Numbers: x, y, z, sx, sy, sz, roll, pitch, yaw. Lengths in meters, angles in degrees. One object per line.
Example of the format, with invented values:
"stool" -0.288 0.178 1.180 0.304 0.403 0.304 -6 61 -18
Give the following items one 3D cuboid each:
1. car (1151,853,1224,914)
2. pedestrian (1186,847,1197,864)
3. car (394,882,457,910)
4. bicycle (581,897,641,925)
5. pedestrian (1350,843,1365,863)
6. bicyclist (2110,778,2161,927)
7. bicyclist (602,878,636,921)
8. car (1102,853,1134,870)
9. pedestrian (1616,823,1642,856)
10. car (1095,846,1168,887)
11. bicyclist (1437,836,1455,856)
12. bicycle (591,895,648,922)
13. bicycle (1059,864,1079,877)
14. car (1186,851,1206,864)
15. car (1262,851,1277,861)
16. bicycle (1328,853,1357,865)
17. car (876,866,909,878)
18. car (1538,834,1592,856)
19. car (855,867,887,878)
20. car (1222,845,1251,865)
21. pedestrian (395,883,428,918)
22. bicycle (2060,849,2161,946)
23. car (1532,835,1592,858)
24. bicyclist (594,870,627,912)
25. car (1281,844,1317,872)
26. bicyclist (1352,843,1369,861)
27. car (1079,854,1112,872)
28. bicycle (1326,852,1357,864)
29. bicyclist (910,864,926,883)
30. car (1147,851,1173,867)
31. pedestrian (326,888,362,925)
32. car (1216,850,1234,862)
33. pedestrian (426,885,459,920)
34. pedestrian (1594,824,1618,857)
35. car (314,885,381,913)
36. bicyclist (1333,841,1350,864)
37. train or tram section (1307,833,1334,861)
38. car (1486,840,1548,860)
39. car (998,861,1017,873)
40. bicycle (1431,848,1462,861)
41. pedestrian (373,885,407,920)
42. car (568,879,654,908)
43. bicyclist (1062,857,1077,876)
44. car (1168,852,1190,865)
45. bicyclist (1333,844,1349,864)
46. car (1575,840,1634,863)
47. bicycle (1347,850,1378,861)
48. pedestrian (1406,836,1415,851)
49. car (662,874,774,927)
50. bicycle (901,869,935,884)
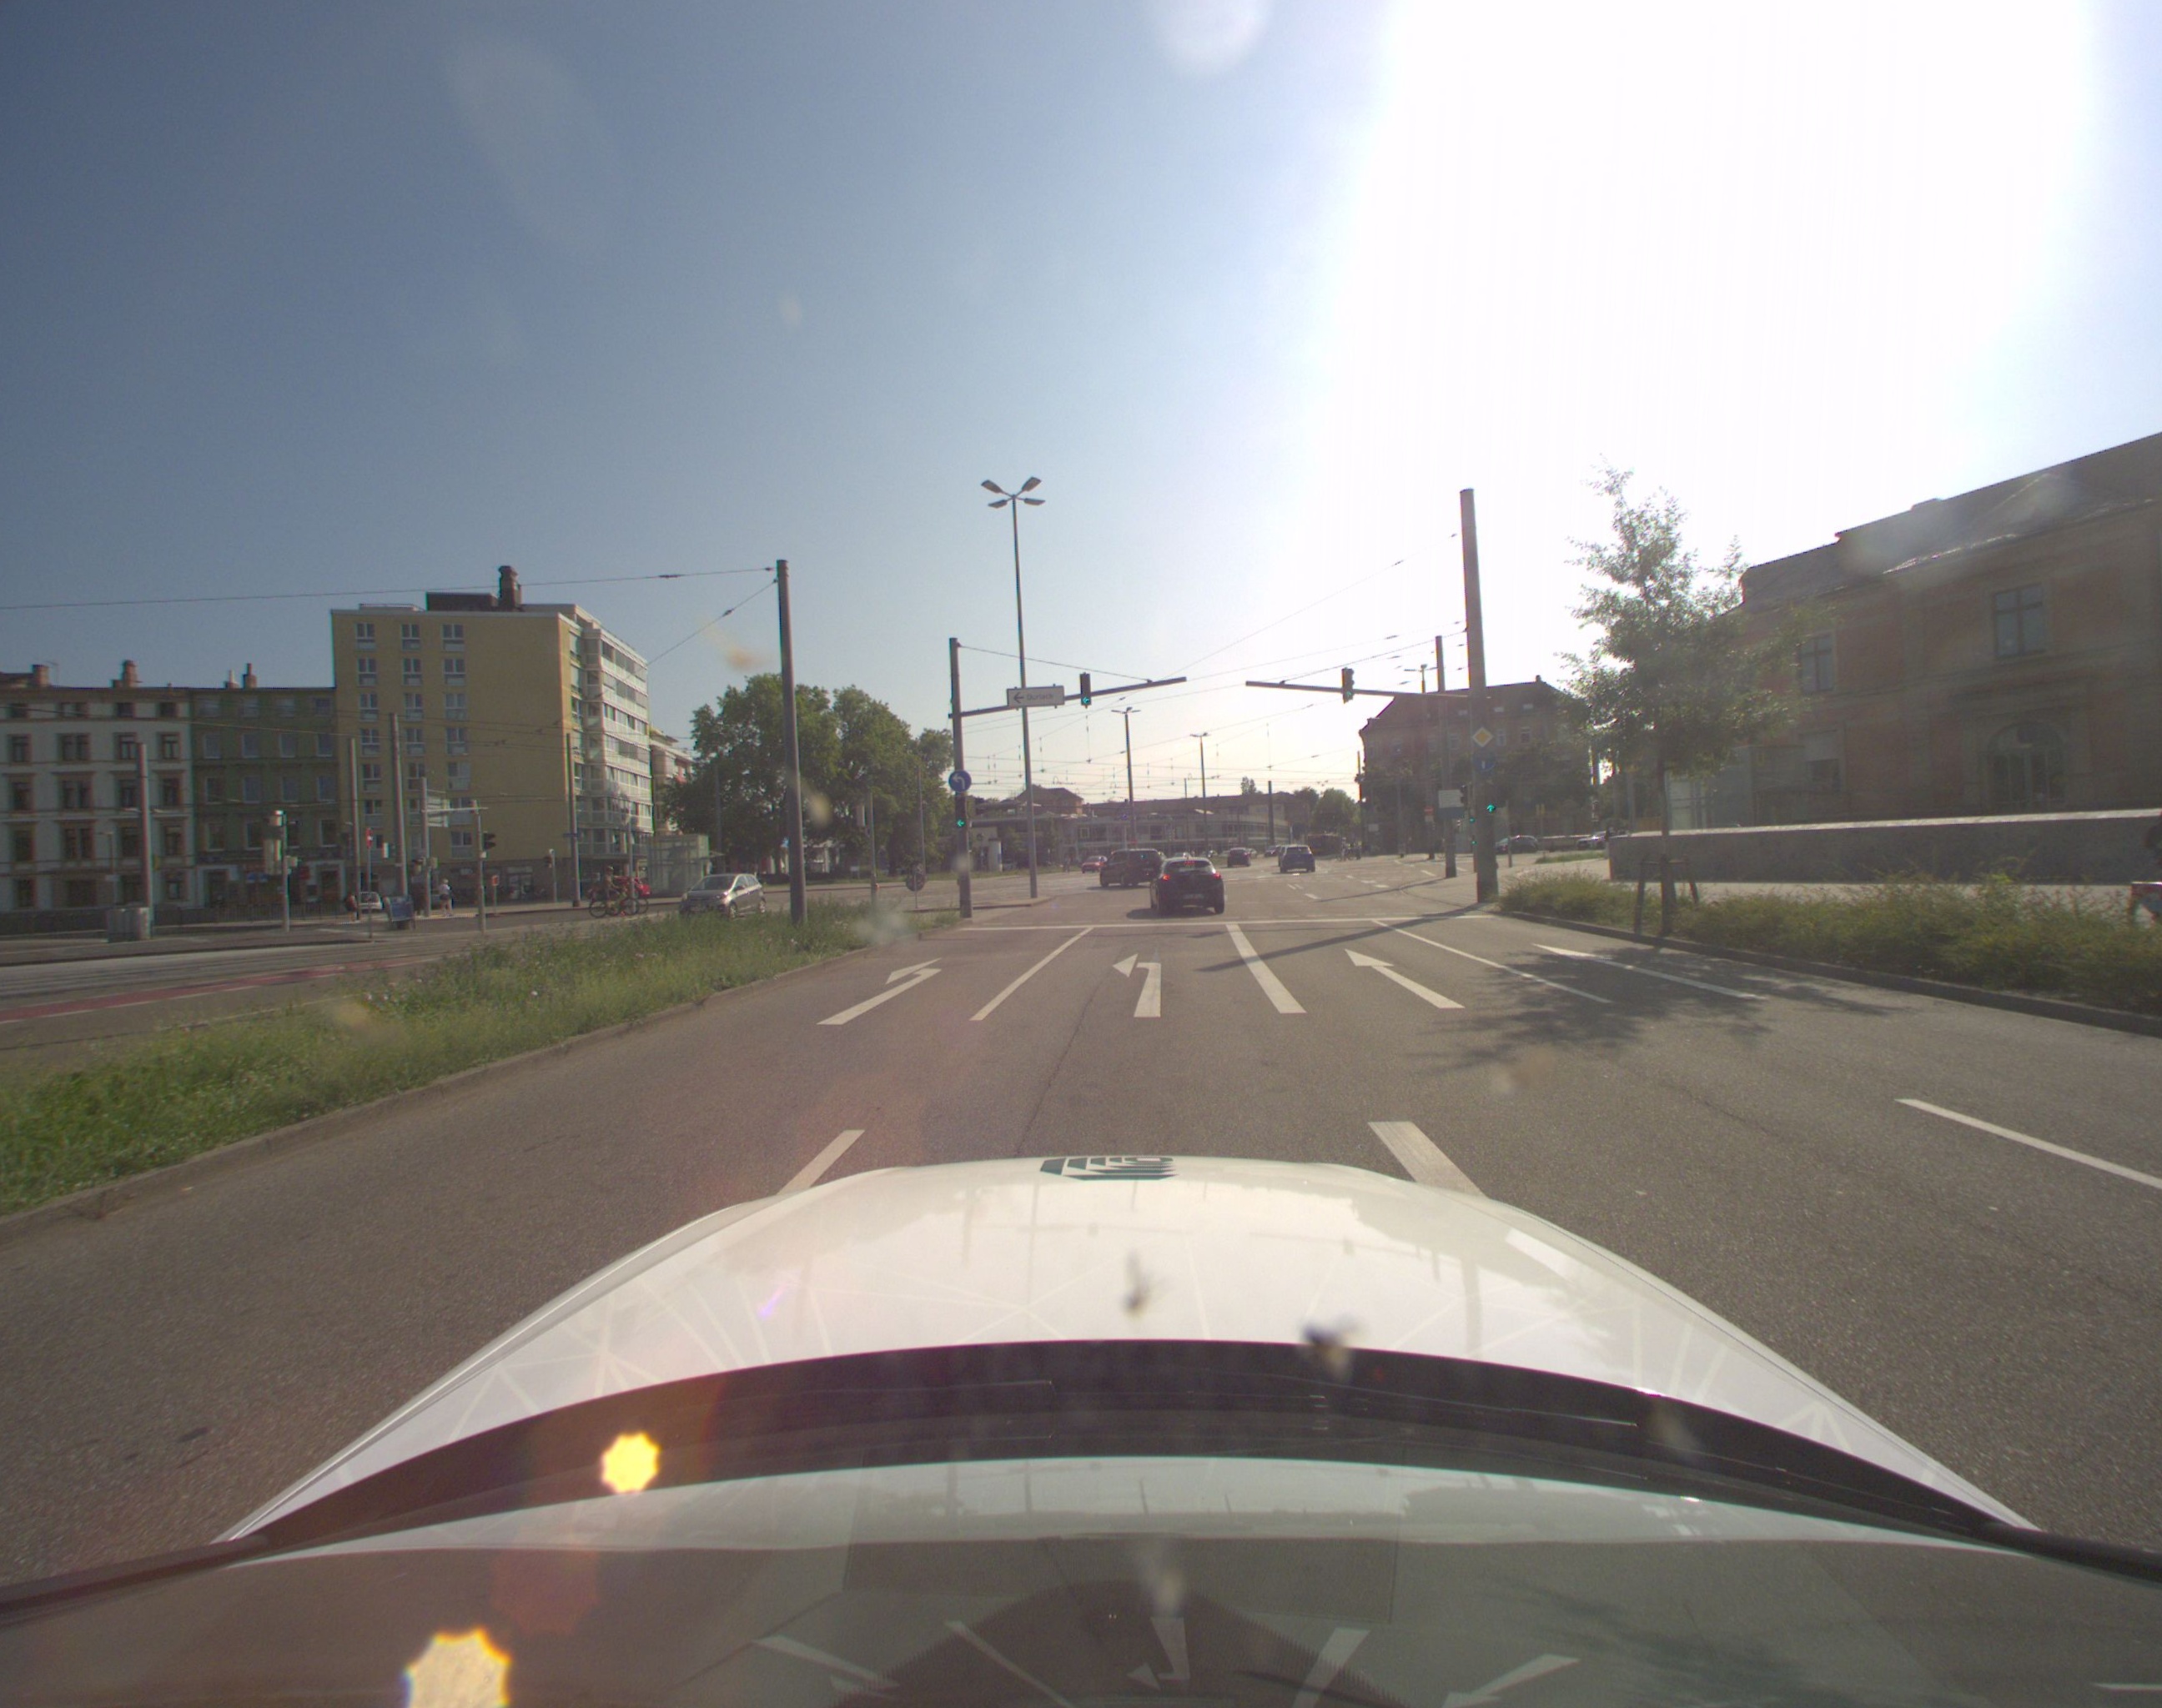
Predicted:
"car" 2.816 0.720 22.273 1.675 1.492 4.376 0 0 3
"pedestrian" 10.206 0.125 75.120 0.771 1.503 0.714 -3 0 21
"car" -43.895 2.812 54.498 4.491 1.678 2.013 -2 0 34
"bicycle" -18.001 2.180 31.192 1.810 0.932 0.725 -3 0 -6
"pedestrian" 25.628 -0.119 75.436 0.932 1.797 0.850 -2 0 -35
"bicyclist" 11.291 -0.028 8.130 0.716 1.513 1.006 -3 -1 6
"bicyclist" -18.374 1.808 32.415 0.880 1.652 0.725 -3 0 -6
"car" 3.752 0.750 82.599 1.944 1.475 4.021 -5 -1 21
"pedestrian" 29.226 -0.784 43.417 0.930 1.690 0.911 -2 -1 -45
"car" 2.256 0.549 37.652 1.830 1.714 4.385 -2 0 -18
"bicyclist" 31.558 -0.680 70.426 0.940 1.708 1.082 -2 0 -31
"bicycle" -18.344 2.169 32.409 1.810 0.932 0.725 -3 0 -6
"bicycle" -1.110 1.538 76.334 0.949 1.057 2.622 -2 0 22
"car" 15.133 0.417 107.230 1.600 1.475 4.021 -5 -1 22
"car" 29.785 0.321 128.453 1.600 1.475 4.021 -5 -1 22
"bicycle" 23.859 0.411 74.369 2.636 0.964 1.082 -3 0 -32
"car" -27.433 2.591 118.673 1.683 1.522 4.544 -3 0 37
"car" 46.023 -0.859 77.453 4.263 1.859 1.923 -2 0 -12
"car" -31.442 2.784 122.034 1.683 1.522 4.544 -3 0 37
"car" 13.225 0.079 69.067 1.811 1.535 4.433 -3 0 18
"pedestrian" -33.412 2.302 40.650 0.922 1.690 0.919 -2 -1 -12
"bicycle" 11.330 0.443 8.196 0.716 0.959 1.925 -3 0 6
"car" 41.629 -0.649 70.462 4.710 1.859 1.897 -2 0 -20
"bicyclist" -18.013 1.405 31.199 0.793 1.527 0.725 -3 0 -6
"car" 12.609 0.195 47.156 1.812 1.428 4.430 -3 0 15
"bicyclist" 26.732 -0.221 77.884 0.936 1.680 1.086 -2 0 -18
"car" 1.378 0.846 75.278 1.600 1.475 4.021 -5 -1 21
"bicycle" 24.485 0.392 76.600 2.626 0.964 1.086 -3 0 -19
"bicyclist" -13.374 1.600 66.982 1.162 1.527 0.958 -4 0 -9
"car" 8.220 0.479 84.640 1.600 1.475 4.021 -5 -1 21
"pedestrian" -35.776 2.547 39.542 0.922 1.690 0.919 -2 -1 -12
"car" 20.277 0.272 114.568 1.600 1.475 4.021 -5 -1 22
"pedestrian" -32.007 2.420 40.840 0.922 1.690 0.919 -2 -1 -12
"pedestrian" 28.067 -0.729 43.539 0.911 1.690 0.843 -3 -1 43
"car" -48.828 3.008 54.221 4.491 1.678 2.013 -2 0 30
"bicyclist" 23.796 -0.131 74.352 0.940 2.024 1.082 -2 0 -31
"train or tram section" 34.170 -1.077 115.832 2.632 3.699 10.645 -3 0 21
"car" 34.800 -0.332 64.940 4.391 1.397 2.008 -2 0 -22
"car" -10.463 1.856 115.885 1.689 1.522 4.111 -2 0 10
"bicycle" 31.634 0.053 70.459 2.636 0.964 1.082 -2 -1 -32
"pedestrian" -34.514 2.422 40.712 0.922 1.690 0.919 -2 -1 -12
"car" -30.090 2.499 52.309 4.410 1.535 1.820 -3 0 -18
"bicyclist" -1.105 1.174 76.380 0.949 1.748 1.172 -2 -1 22
"car" 12.165 0.520 100.412 1.600 1.475 4.021 -5 -1 22
"bicyclist" 24.452 -0.028 76.594 0.936 1.800 1.086 -2 0 -18
"car" 46.604 -0.232 72.516 4.669 1.859 2.030 -2 0 -22
"bicycle" 26.931 0.137 77.950 2.626 0.964 1.086 -3 0 -19
"pedestrian" 33.073 -1.042 81.728 0.671 1.471 0.540 -2 -1 -39
"car" -11.766 1.465 26.692 1.882 1.452 3.676 -3 0 1
"bicycle" -13.387 1.844 66.978 2.599 1.057 0.958 -3 0 -9
